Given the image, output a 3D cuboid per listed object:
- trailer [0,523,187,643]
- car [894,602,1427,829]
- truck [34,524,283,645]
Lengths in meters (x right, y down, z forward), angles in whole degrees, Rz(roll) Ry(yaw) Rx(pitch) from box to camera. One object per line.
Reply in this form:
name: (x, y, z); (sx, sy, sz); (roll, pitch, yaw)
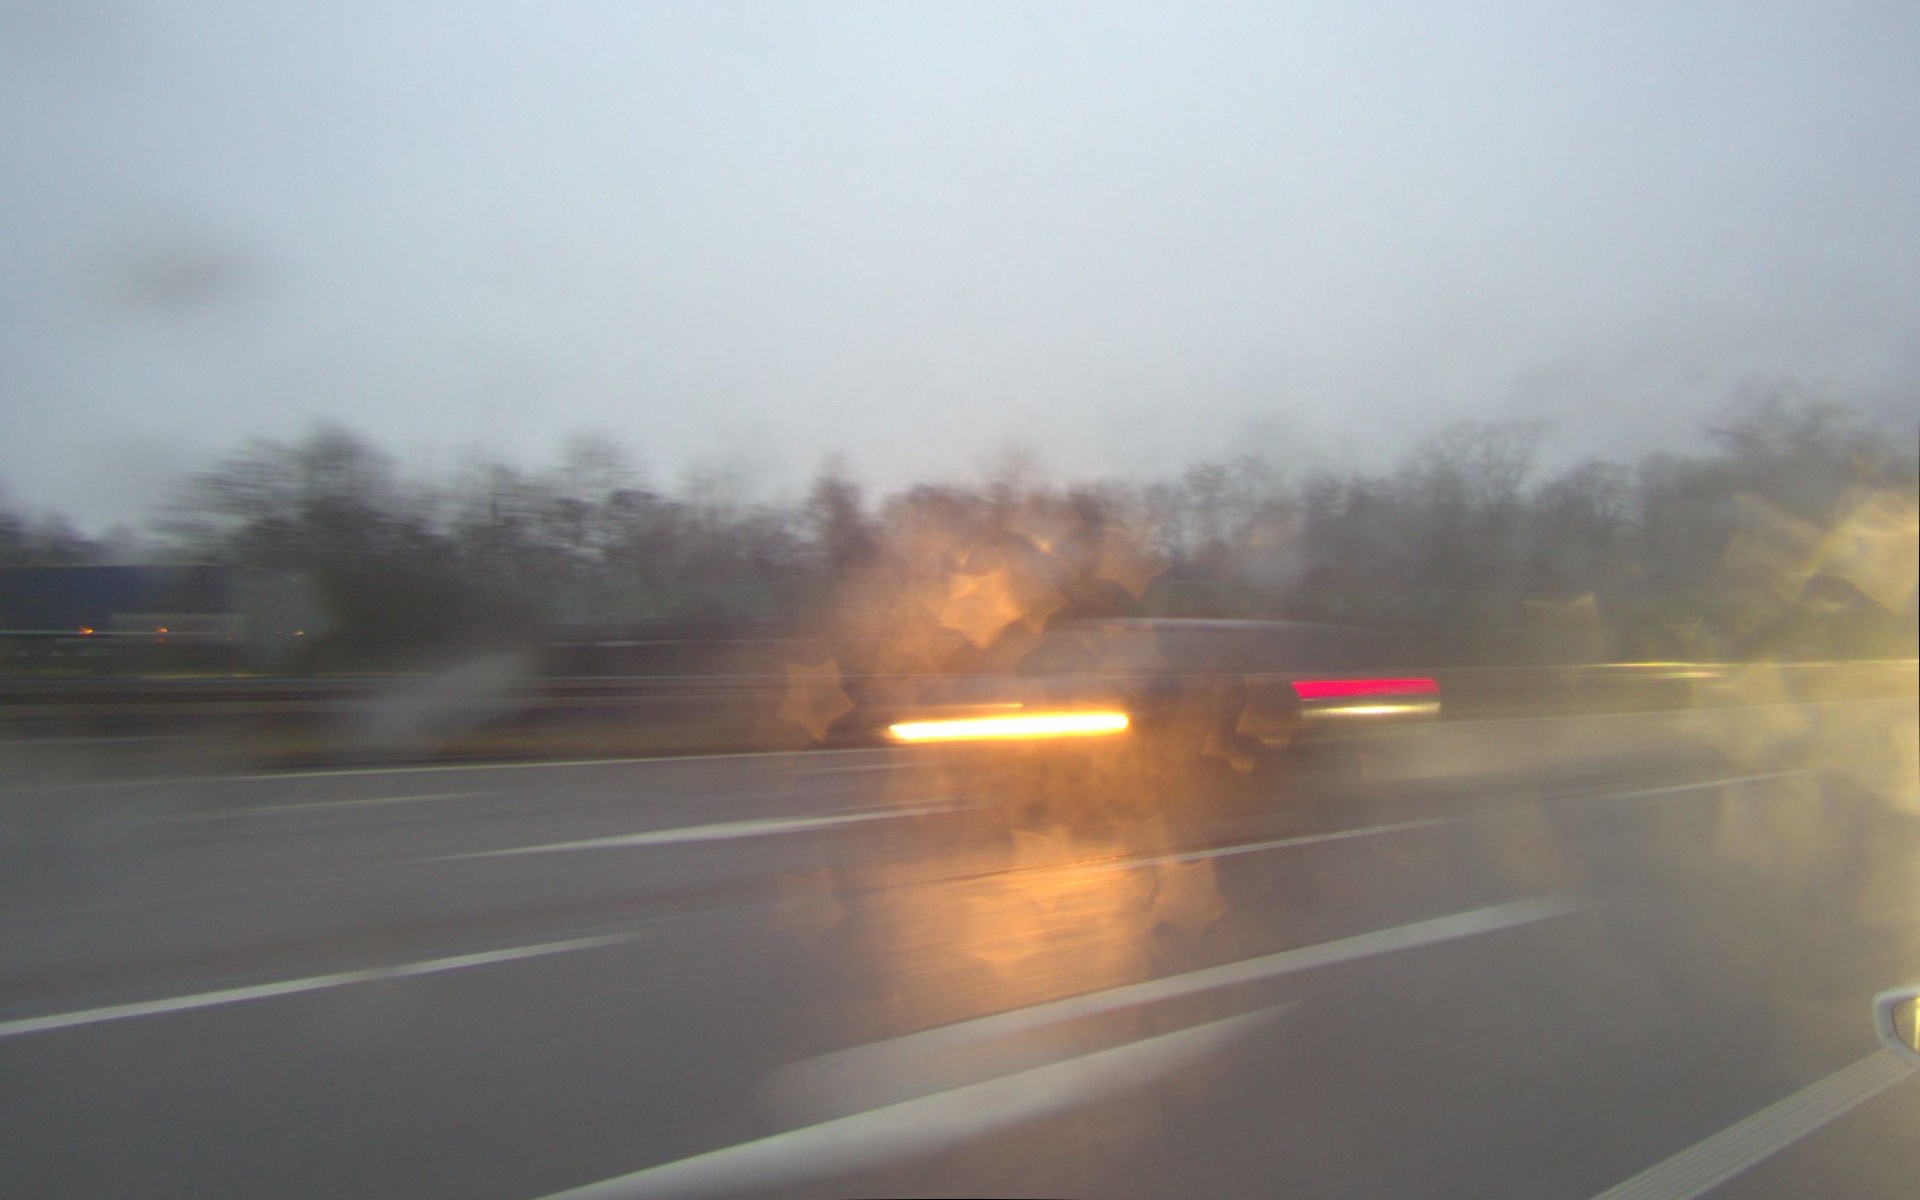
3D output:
trailer: (-43.677, -0.804, 45.867); (12.994, 5.170, 3.307); (2, -2, -11)
car: (1.772, 0.776, 8.410); (4.395, 1.492, 1.629); (0, 0, -29)
truck: (-37.277, -0.602, 47.109); (8.369, 5.197, 3.279); (2, -1, -11)
